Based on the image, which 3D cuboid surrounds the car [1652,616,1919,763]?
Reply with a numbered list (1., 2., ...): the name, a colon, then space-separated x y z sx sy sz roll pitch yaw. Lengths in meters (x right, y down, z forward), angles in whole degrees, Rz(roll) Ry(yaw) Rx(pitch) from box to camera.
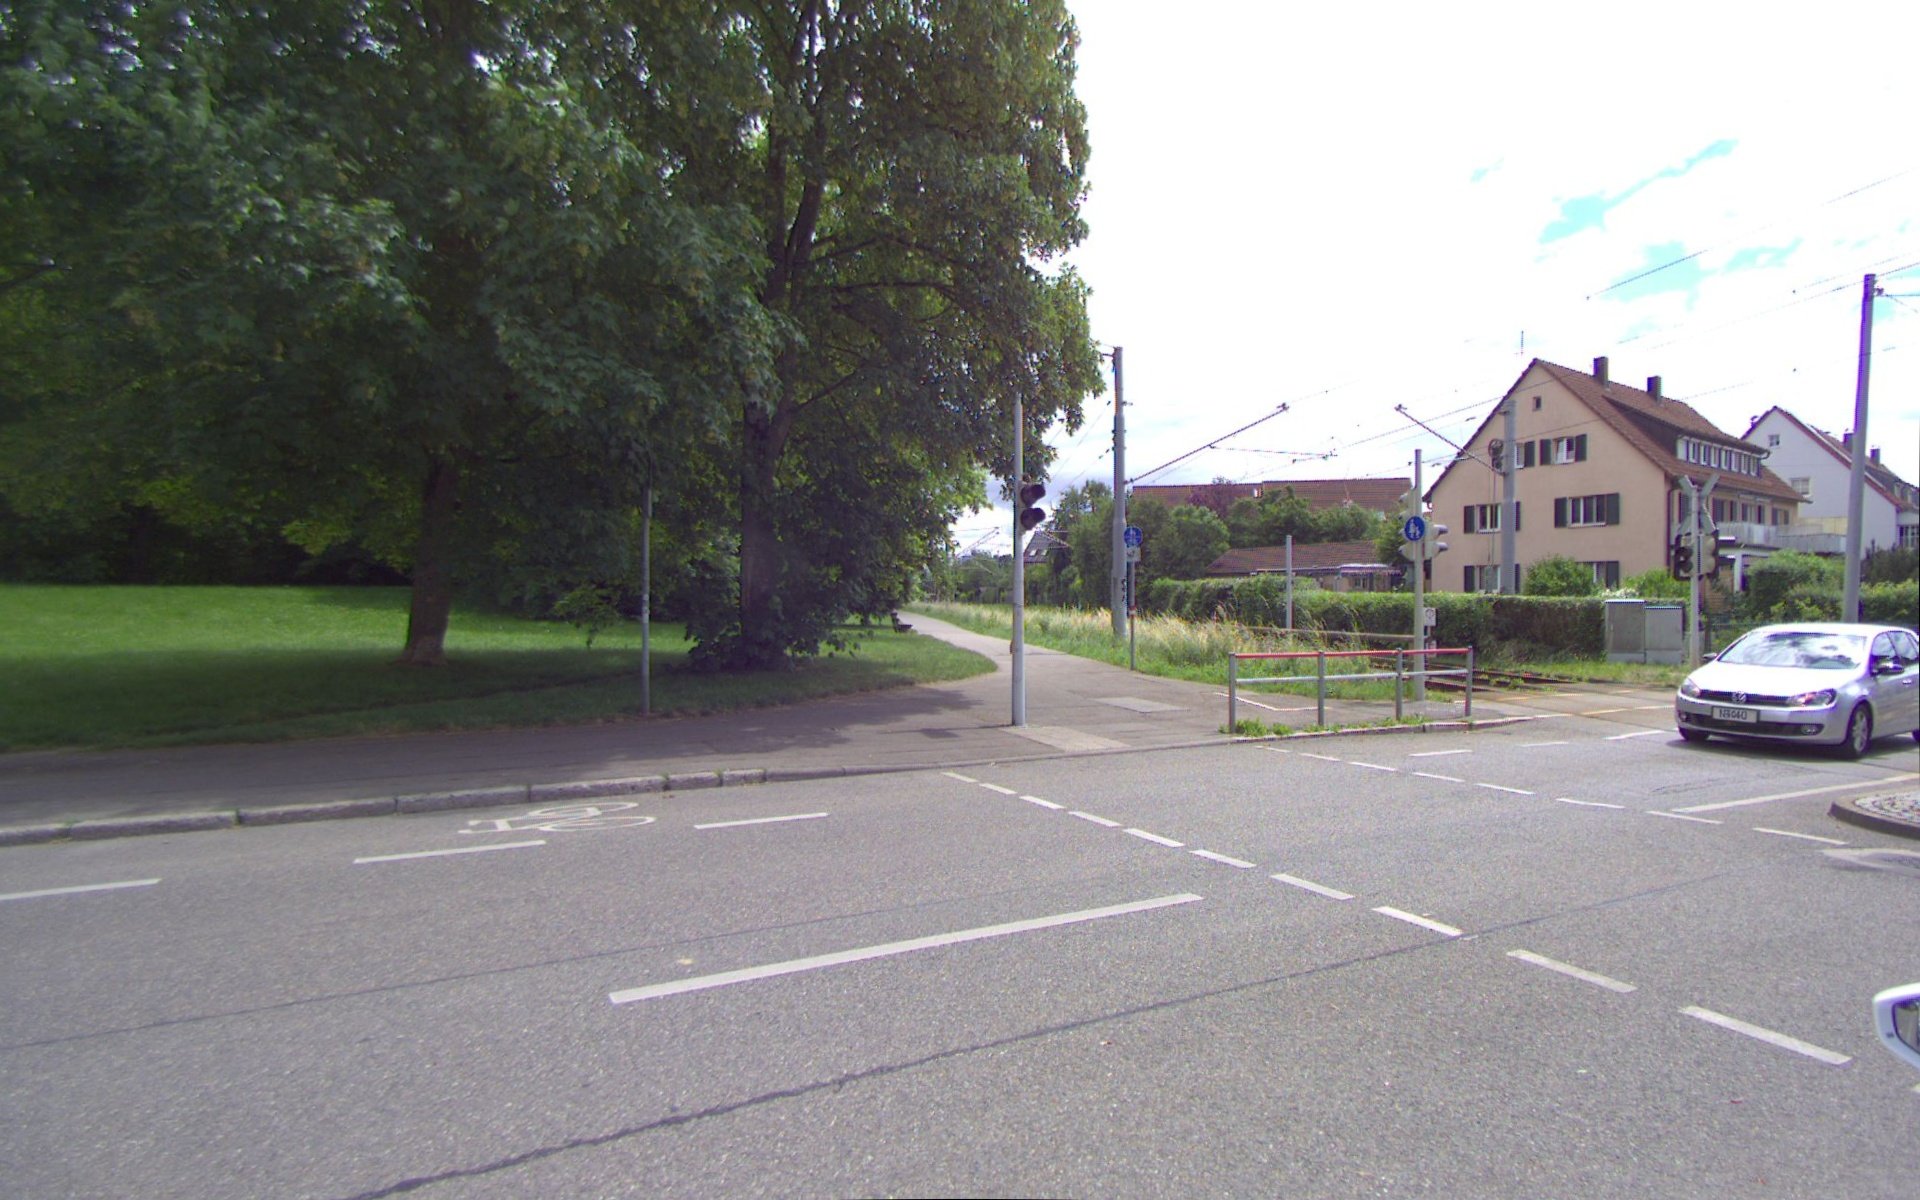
1. car: 10.548 0.984 12.493 4.022 1.478 1.680 0 1 -31
